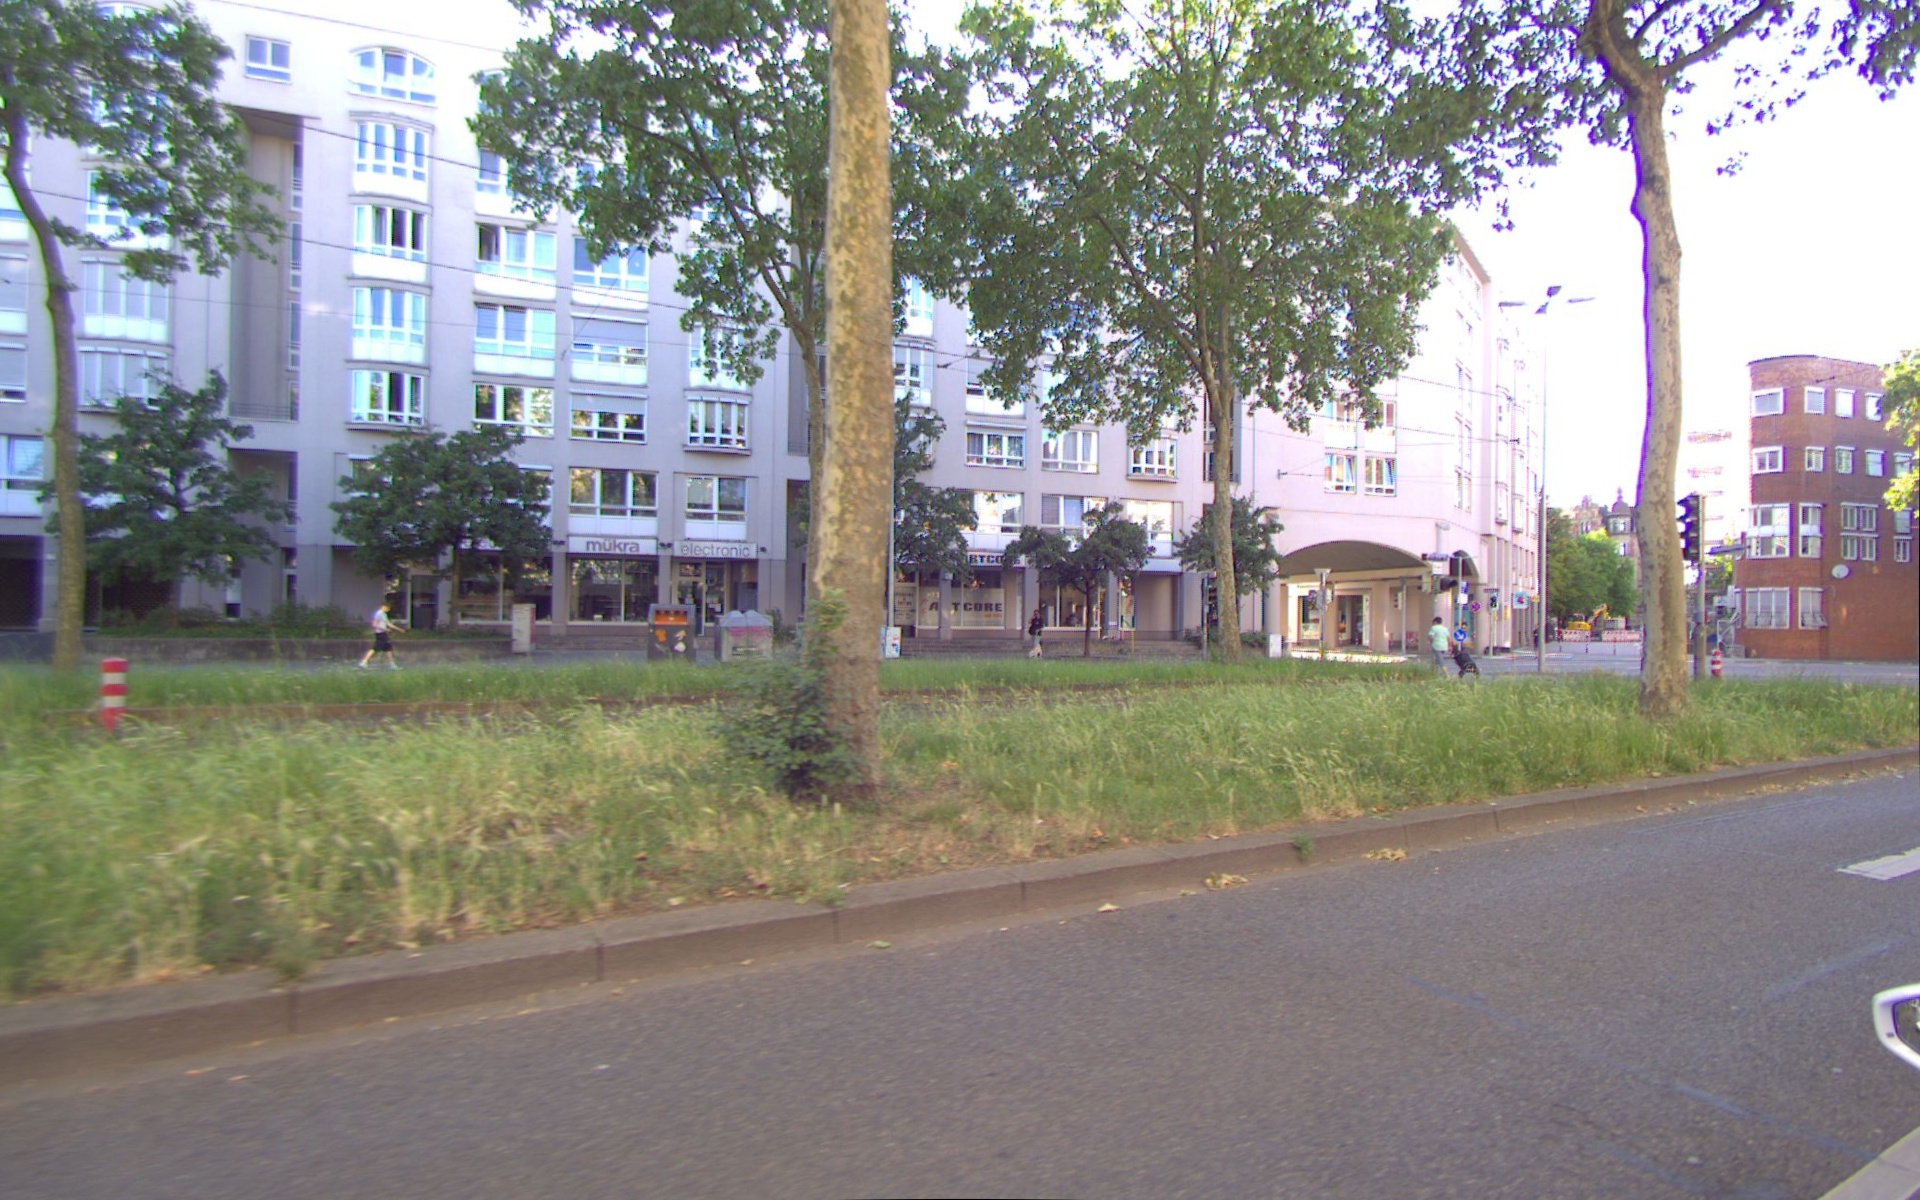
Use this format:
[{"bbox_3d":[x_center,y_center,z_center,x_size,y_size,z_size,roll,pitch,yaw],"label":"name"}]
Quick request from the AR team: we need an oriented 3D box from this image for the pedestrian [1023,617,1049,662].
[{"bbox_3d":[2.847,1.479,37.513,0.776,1.660,0.706,1,-1,-18],"label":"pedestrian"}]

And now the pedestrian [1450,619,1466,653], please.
[{"bbox_3d":[29.648,2.136,59.778,0.822,2.040,0.886,0,-1,30],"label":"pedestrian"}]

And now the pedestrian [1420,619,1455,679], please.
[{"bbox_3d":[12.256,1.239,25.800,0.526,1.523,0.618,0,-1,-16],"label":"pedestrian"}]

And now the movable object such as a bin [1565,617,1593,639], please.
[{"bbox_3d":[65.625,2.951,106.551,2.769,2.341,1.908,1,-2,-44],"label":"movable object such as a bin"}]

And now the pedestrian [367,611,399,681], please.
[{"bbox_3d":[-14.825,1.163,25.841,0.639,1.763,0.726,1,-1,-26],"label":"pedestrian"}]

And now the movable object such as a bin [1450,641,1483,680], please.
[{"bbox_3d":[12.737,1.509,25.260,0.530,0.966,0.510,1,-1,-16],"label":"movable object such as a bin"}]

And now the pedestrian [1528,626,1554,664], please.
[{"bbox_3d":[29.751,2.296,51.421,0.742,1.894,0.852,1,-2,-27],"label":"pedestrian"}]
